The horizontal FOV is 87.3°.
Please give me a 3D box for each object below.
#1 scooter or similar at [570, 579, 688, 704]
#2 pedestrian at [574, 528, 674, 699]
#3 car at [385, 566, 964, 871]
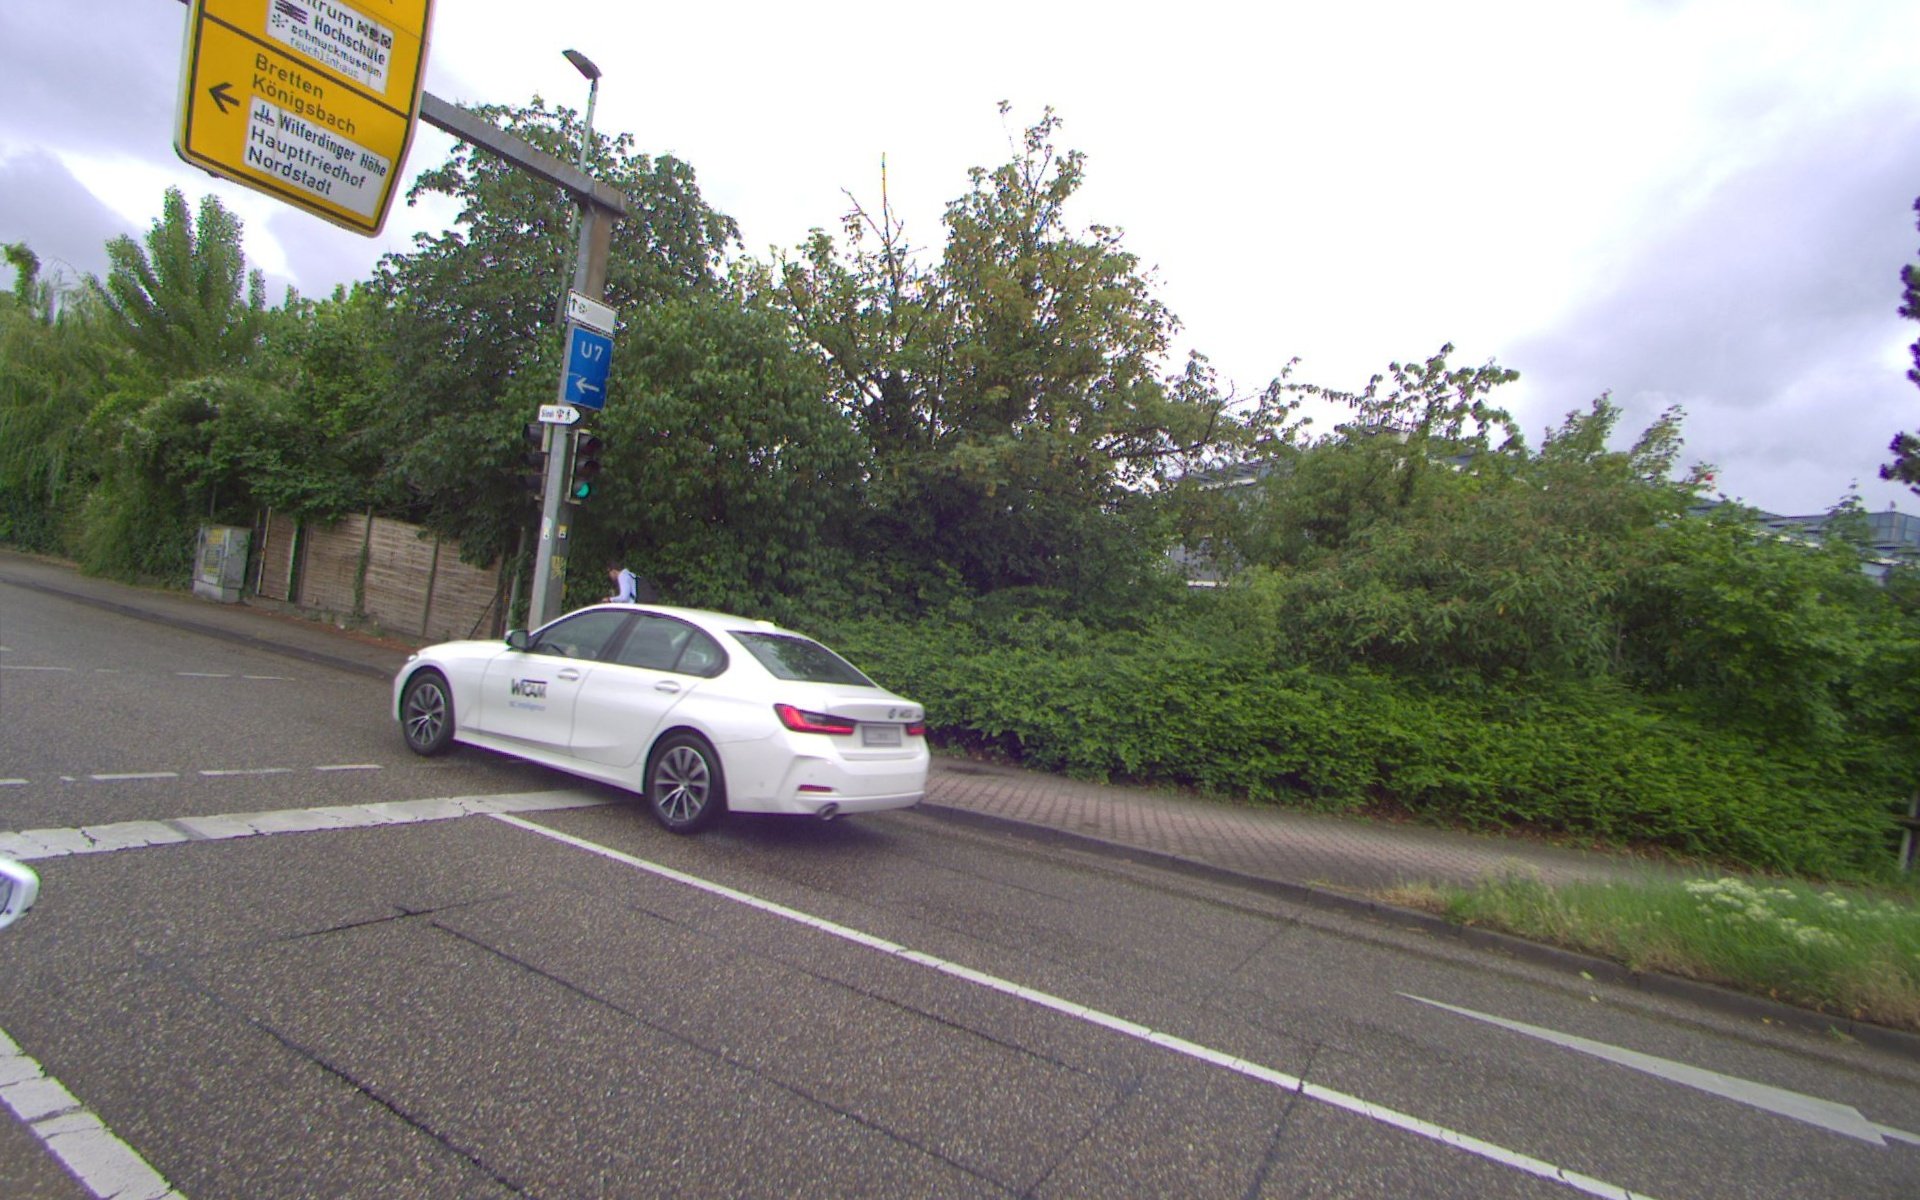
[{"bbox_3d":[-4.155,0.511,12.597,1.361,1.378,0.462,7,0,28],"label":"scooter or similar"},{"bbox_3d":[-4.186,0.180,12.547,0.705,2.026,0.657,7,0,28],"label":"pedestrian"},{"bbox_3d":[-2.286,0.751,7.713,4.232,1.443,1.669,7,-2,30],"label":"car"}]
